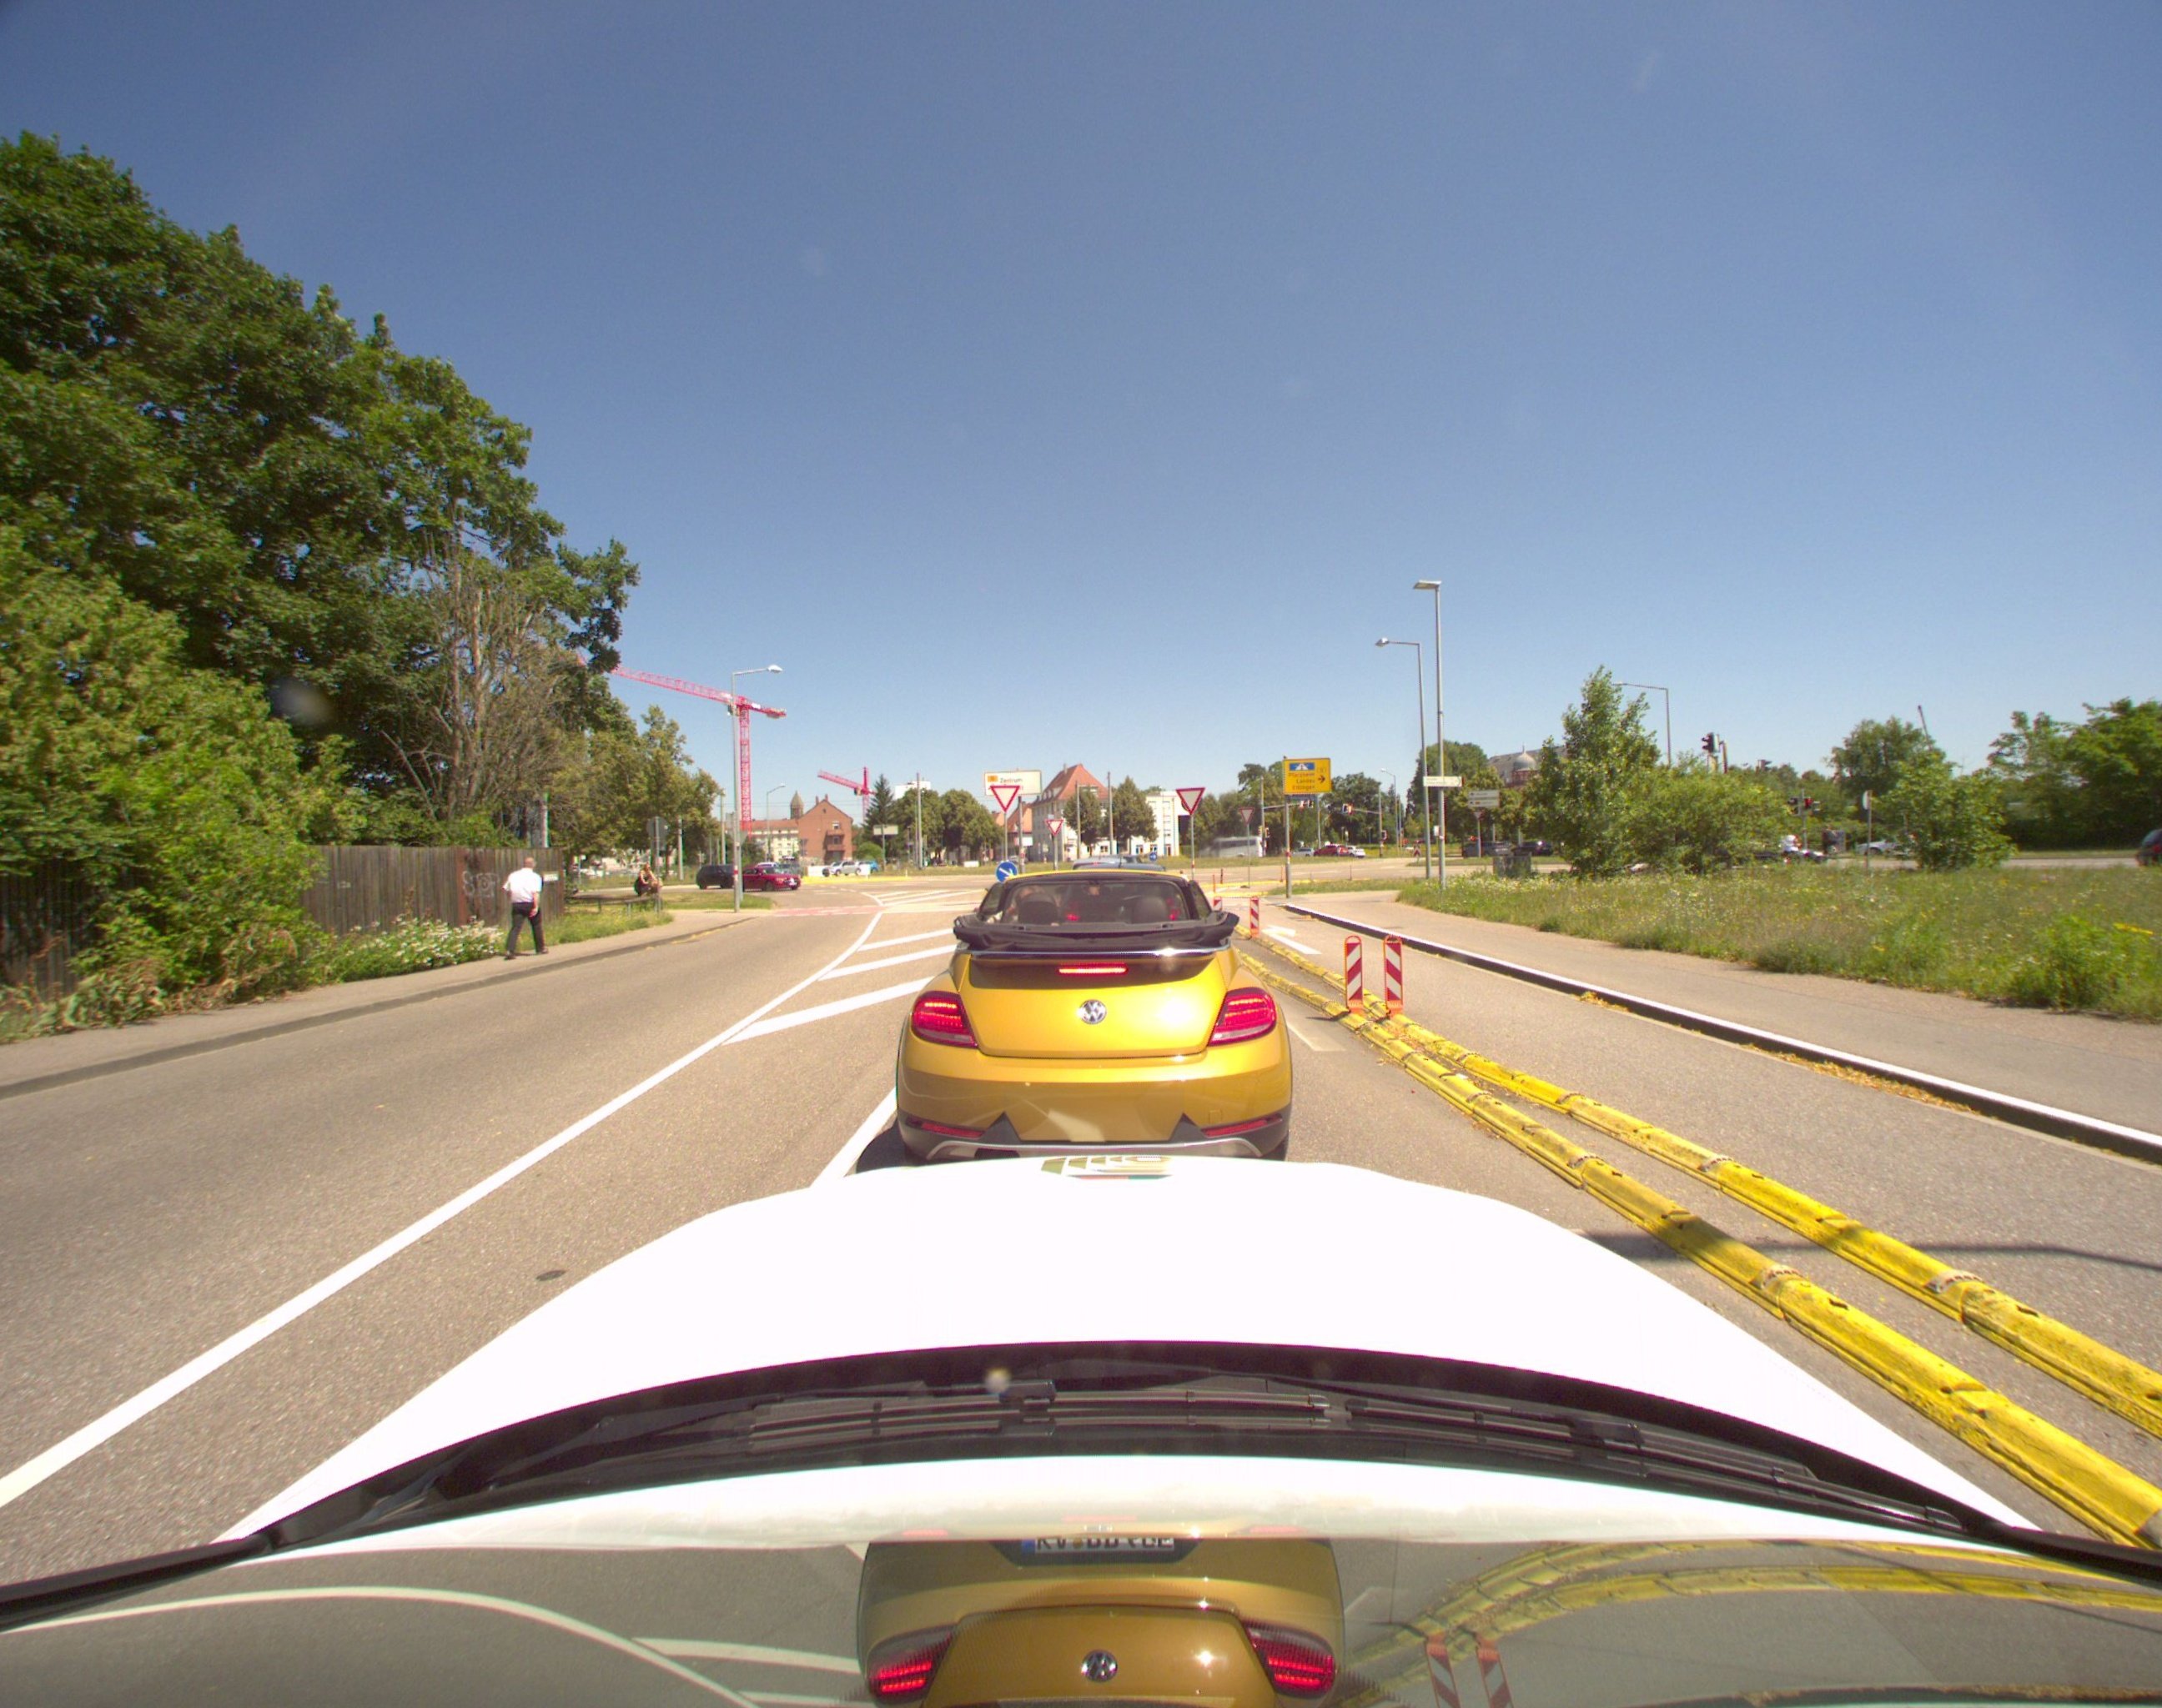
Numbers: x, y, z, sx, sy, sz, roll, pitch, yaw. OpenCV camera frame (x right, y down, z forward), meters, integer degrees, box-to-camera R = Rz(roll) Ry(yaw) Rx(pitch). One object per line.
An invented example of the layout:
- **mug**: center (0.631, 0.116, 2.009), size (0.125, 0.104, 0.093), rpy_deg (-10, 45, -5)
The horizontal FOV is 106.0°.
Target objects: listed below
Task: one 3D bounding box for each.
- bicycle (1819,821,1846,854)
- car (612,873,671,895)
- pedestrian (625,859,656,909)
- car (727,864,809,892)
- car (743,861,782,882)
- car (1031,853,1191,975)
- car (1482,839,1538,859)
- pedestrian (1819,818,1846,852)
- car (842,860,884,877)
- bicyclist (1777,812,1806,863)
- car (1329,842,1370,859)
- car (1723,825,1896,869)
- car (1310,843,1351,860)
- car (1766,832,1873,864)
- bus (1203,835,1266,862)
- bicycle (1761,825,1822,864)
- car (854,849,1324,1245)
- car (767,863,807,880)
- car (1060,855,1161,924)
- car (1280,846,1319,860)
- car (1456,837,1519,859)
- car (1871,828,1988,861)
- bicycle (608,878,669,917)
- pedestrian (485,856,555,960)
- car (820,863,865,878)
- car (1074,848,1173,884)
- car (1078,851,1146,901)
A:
- **bicycle**: center (37.993, -0.823, 41.172), size (0.972, 1.597, 2.900), rpy_deg (-1, -1, 43)
- **car**: center (-34.191, 2.288, 63.349), size (4.363, 1.595, 2.012), rpy_deg (-1, -1, 29)
- **pedestrian**: center (-15.165, 1.031, 28.031), size (0.728, 1.691, 0.577), rpy_deg (-1, -1, 11)
- **car**: center (-17.894, 1.336, 46.569), size (4.363, 1.527, 2.012), rpy_deg (-1, -1, 29)
- **car**: center (-24.966, 1.352, 63.988), size (1.773, 1.527, 3.866), rpy_deg (-2, 0, -5)
- **car**: center (0.424, 0.709, 11.740), size (1.844, 1.366, 4.260), rpy_deg (-2, 0, 2)
- **car**: center (39.652, -0.414, 75.314), size (1.851, 1.736, 4.409), rpy_deg (0, -1, -24)
- **pedestrian**: center (37.894, -0.951, 41.063), size (0.959, 1.660, 0.892), rpy_deg (-1, -1, 44)
- **car**: center (-23.874, 1.571, 89.176), size (4.015, 1.772, 1.857), rpy_deg (0, -1, -33)
- **bicyclist**: center (25.751, -0.596, 29.527), size (0.573, 1.841, 0.603), rpy_deg (0, -1, -29)
- **car**: center (30.046, -0.395, 91.293), size (1.797, 1.772, 3.950), rpy_deg (0, -1, -45)
- **car**: center (31.152, -0.252, 35.099), size (5.261, 1.736, 2.013), rpy_deg (-1, -1, 32)
- **car**: center (26.859, -0.217, 87.888), size (1.851, 1.736, 4.409), rpy_deg (0, -1, -24)
- **car**: center (41.856, -0.297, 46.252), size (4.389, 1.736, 1.860), rpy_deg (-1, -1, 43)
- **bus**: center (18.870, -0.654, 100.078), size (7.183, 3.172, 2.275), rpy_deg (-1, -1, 30)
- **bicycle**: center (25.783, -0.340, 29.545), size (2.902, 1.353, 0.635), rpy_deg (0, -1, -28)
- **car**: center (0.092, 0.745, 5.195), size (1.758, 1.481, 4.259), rpy_deg (0, -1, 2)
- **car**: center (-25.225, 1.501, 69.998), size (1.740, 1.371, 4.332), rpy_deg (0, 0, 1)
- **car**: center (0.668, 0.745, 18.699), size (2.057, 1.382, 4.259), rpy_deg (0, 0, 2)
- **car**: center (27.335, -0.106, 101.970), size (1.858, 1.736, 4.392), rpy_deg (0, -1, -40)
- **car**: center (33.190, -0.437, 66.639), size (1.851, 1.736, 4.409), rpy_deg (0, -1, -24)
- **car**: center (47.098, -0.496, 45.341), size (4.389, 1.736, 1.860), rpy_deg (-1, -1, 43)
- **bicycle**: center (-15.221, 1.506, 28.019), size (1.830, 1.231, 0.615), rpy_deg (-3, -1, 12)
- **pedestrian**: center (-10.035, 0.941, 14.592), size (0.635, 1.786, 0.967), rpy_deg (0, -1, -5)
- **car**: center (-23.126, 1.560, 79.150), size (1.711, 1.402, 4.297), rpy_deg (-1, -1, 29)
- **car**: center (2.098, 0.580, 39.473), size (4.371, 1.527, 2.009), rpy_deg (-2, 0, 16)
- **car**: center (1.041, 0.674, 27.695), size (2.057, 1.481, 4.545), rpy_deg (-2, 0, 2)
